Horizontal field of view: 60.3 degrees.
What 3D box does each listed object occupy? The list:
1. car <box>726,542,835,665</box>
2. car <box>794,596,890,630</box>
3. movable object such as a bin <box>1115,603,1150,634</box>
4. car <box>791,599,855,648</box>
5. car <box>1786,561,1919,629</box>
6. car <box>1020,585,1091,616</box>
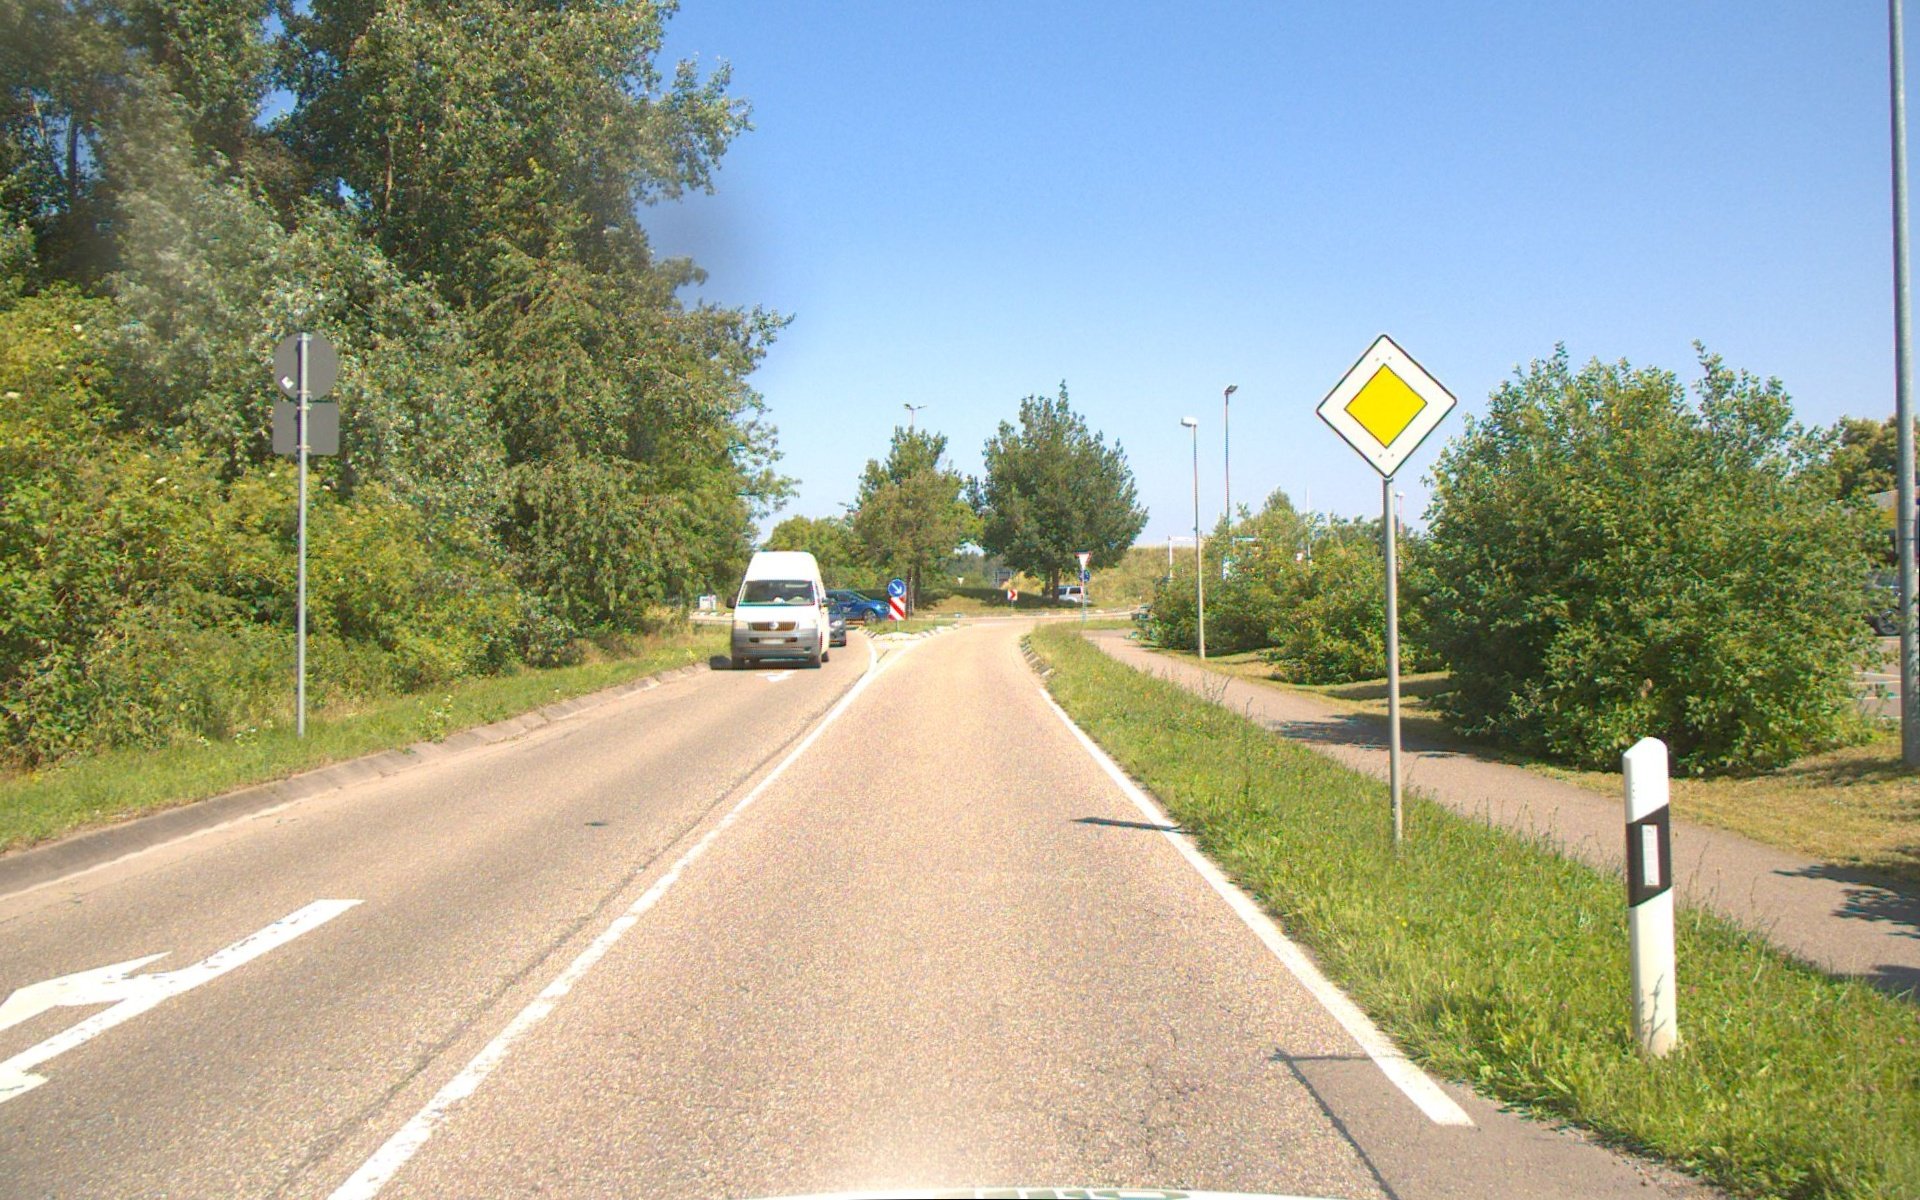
[{"bbox_3d":[-3.776,0.062,35.558,1.873,2.442,4.909,-1,0,-1],"label":"car"},{"bbox_3d":[-5.688,0.625,79.787,4.319,1.599,1.718,-1,0,8],"label":"car"},{"bbox_3d":[6.662,0.701,63.858,0.851,1.140,1.453,0,0,28],"label":"movable object such as a bin"},{"bbox_3d":[-4.194,0.684,51.307,1.664,1.413,4.293,-1,0,-1],"label":"car"},{"bbox_3d":[22.794,-0.142,40.579,4.070,1.601,1.999,-1,0,-3],"label":"car"},{"bbox_3d":[6.458,0.029,111.548,4.415,1.892,2.002,-2,0,14],"label":"car"}]
